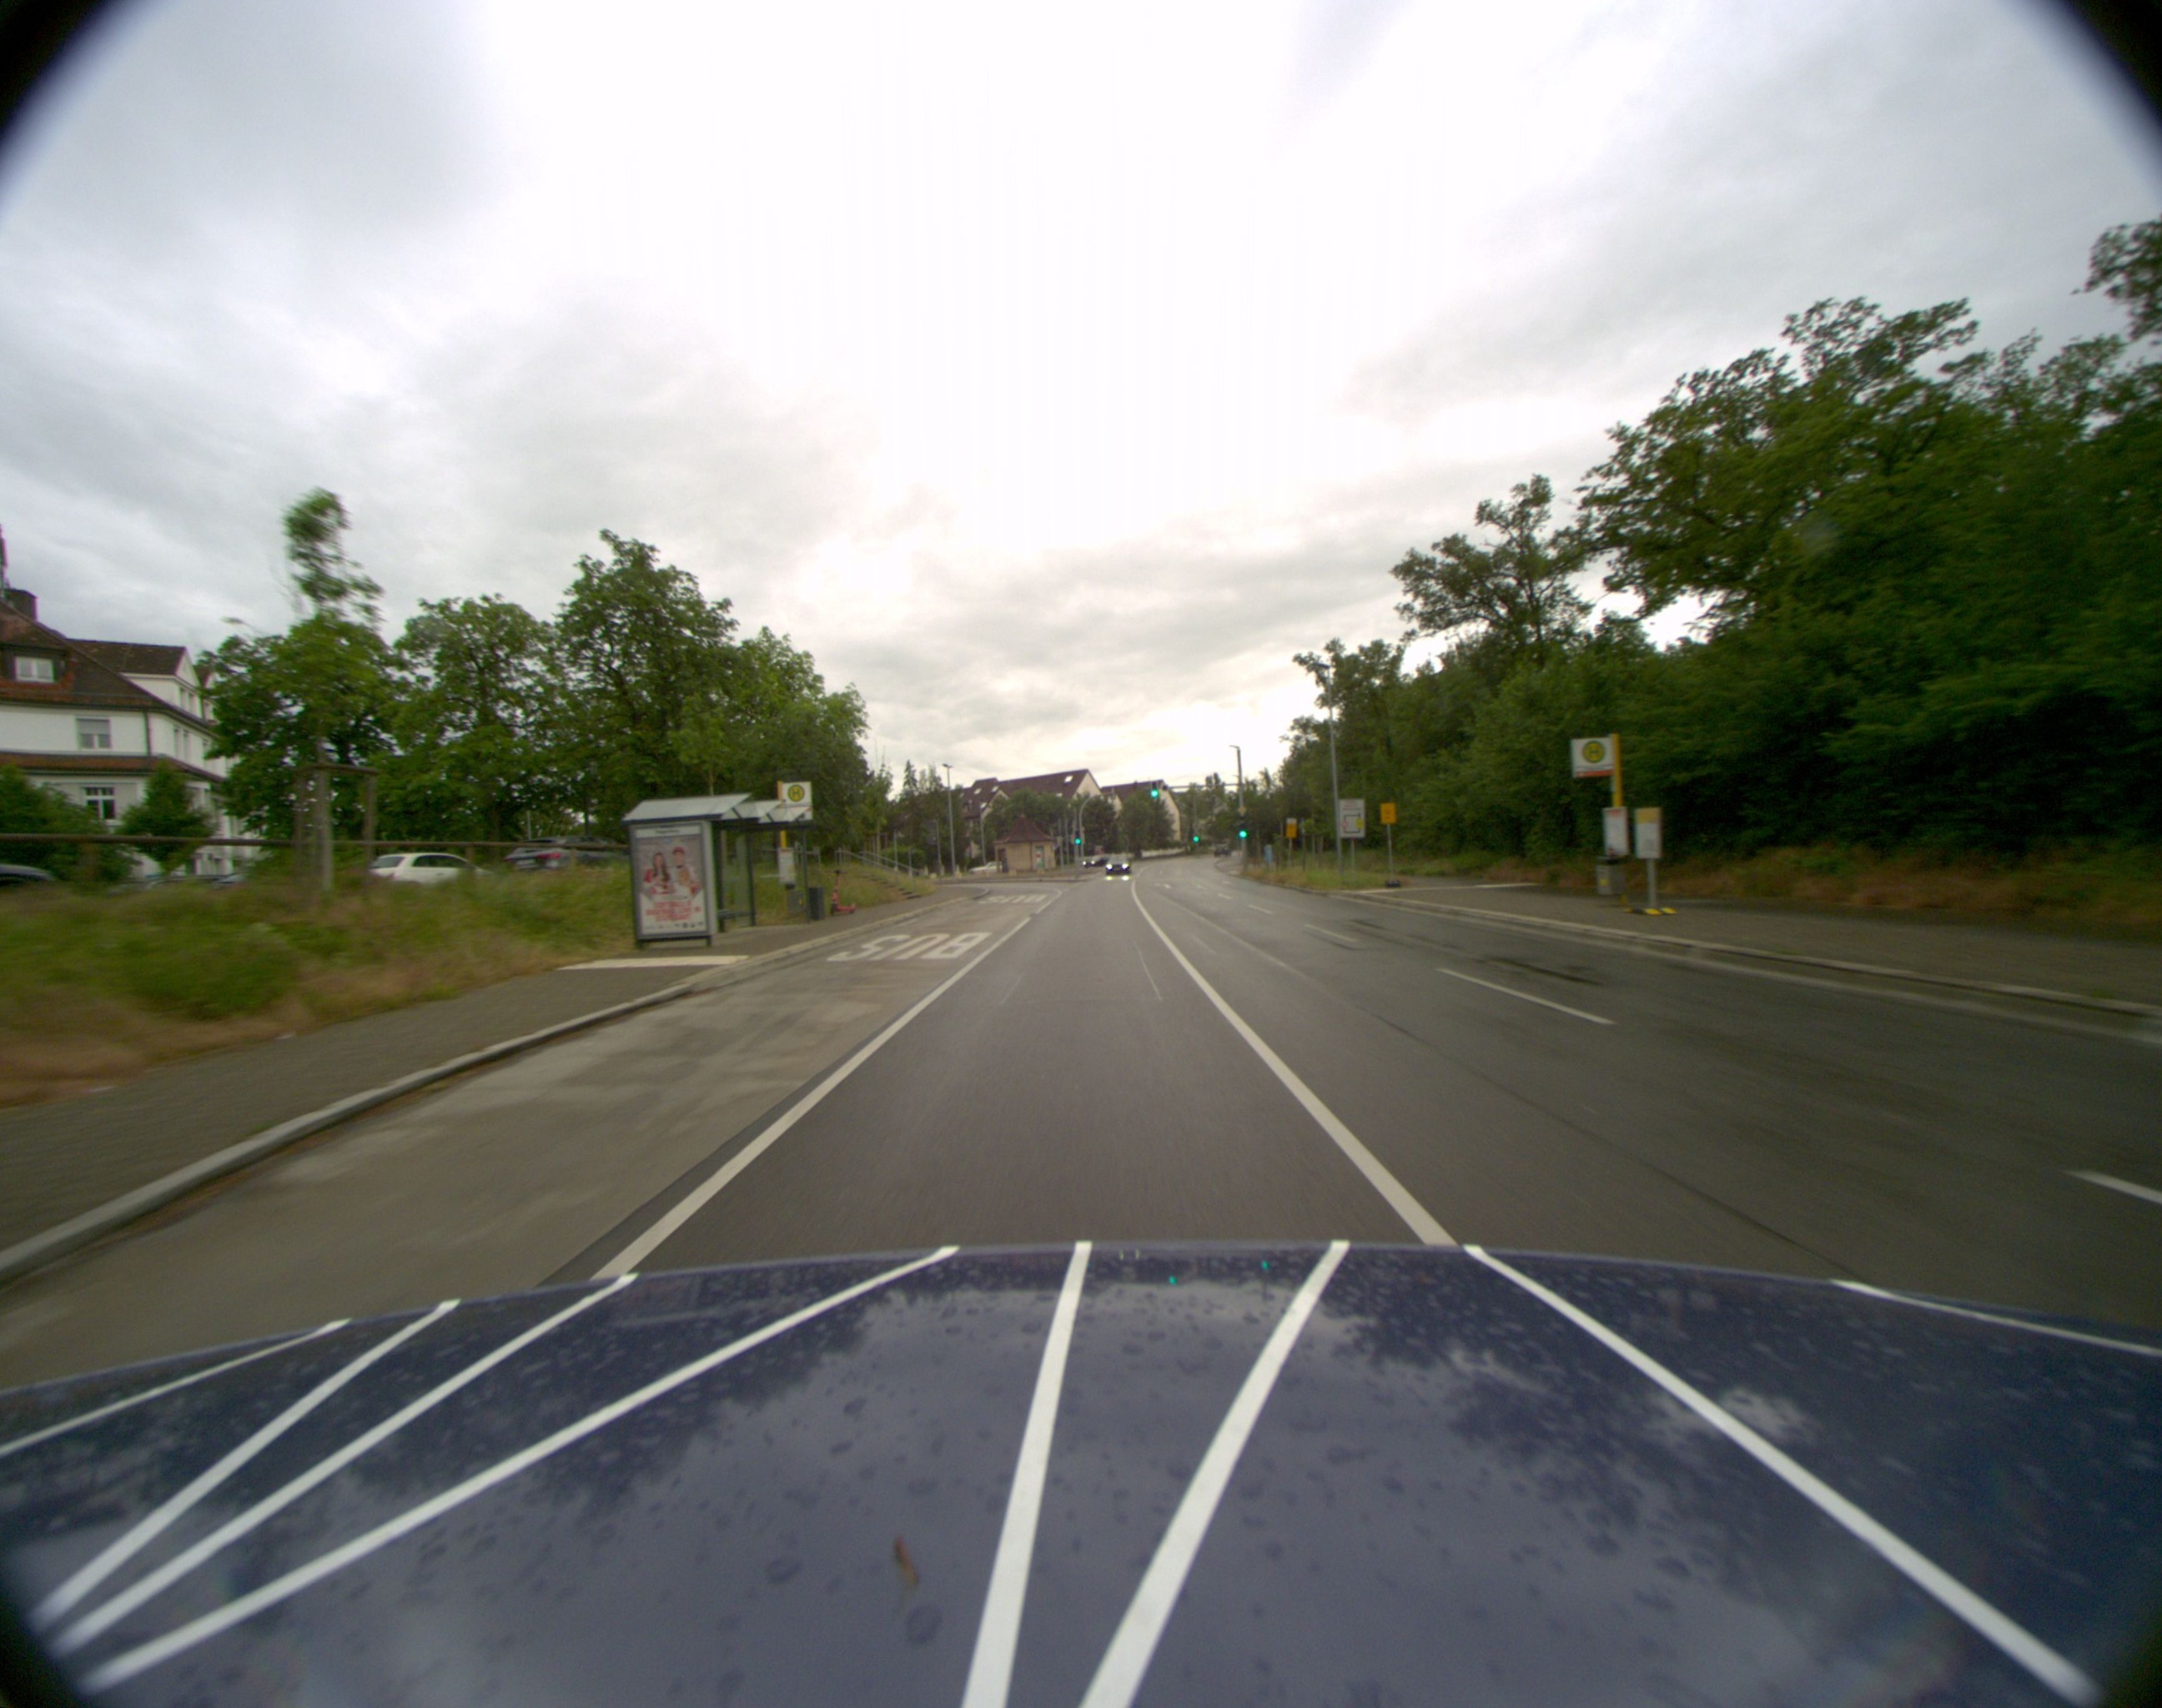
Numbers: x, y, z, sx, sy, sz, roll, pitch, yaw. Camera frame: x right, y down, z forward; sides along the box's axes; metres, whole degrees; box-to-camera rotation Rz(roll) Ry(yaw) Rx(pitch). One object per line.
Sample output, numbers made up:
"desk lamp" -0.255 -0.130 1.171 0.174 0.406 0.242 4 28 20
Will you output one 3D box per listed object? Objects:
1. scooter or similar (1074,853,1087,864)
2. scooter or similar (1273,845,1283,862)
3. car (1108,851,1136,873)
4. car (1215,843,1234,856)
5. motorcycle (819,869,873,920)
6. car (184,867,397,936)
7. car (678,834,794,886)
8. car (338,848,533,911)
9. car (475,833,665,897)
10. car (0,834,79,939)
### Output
"scooter or similar" -0.034 0.613 94.151 1.350 1.200 0.525 -6 1 20
"scooter or similar" 14.102 -0.038 54.371 0.518 1.205 1.470 -3 1 11
"car" 3.101 0.566 58.403 1.945 1.446 4.603 -3 1 1
"car" 19.140 -0.664 101.351 1.791 1.572 4.567 -2 1 18
"motorcycle" -6.482 1.101 21.062 0.589 1.281 1.539 -2 1 18
"car" -23.964 1.360 23.280 1.997 1.652 4.002 -6 0 8
"car" -12.864 0.192 28.631 1.997 1.652 4.002 -6 0 8
"car" -19.024 0.685 22.672 1.889 1.471 4.070 -5 1 9
"car" -14.351 0.232 21.697 1.997 1.471 4.286 -5 1 9
"car" -18.523 0.616 10.920 1.997 1.652 4.475 -6 0 8
